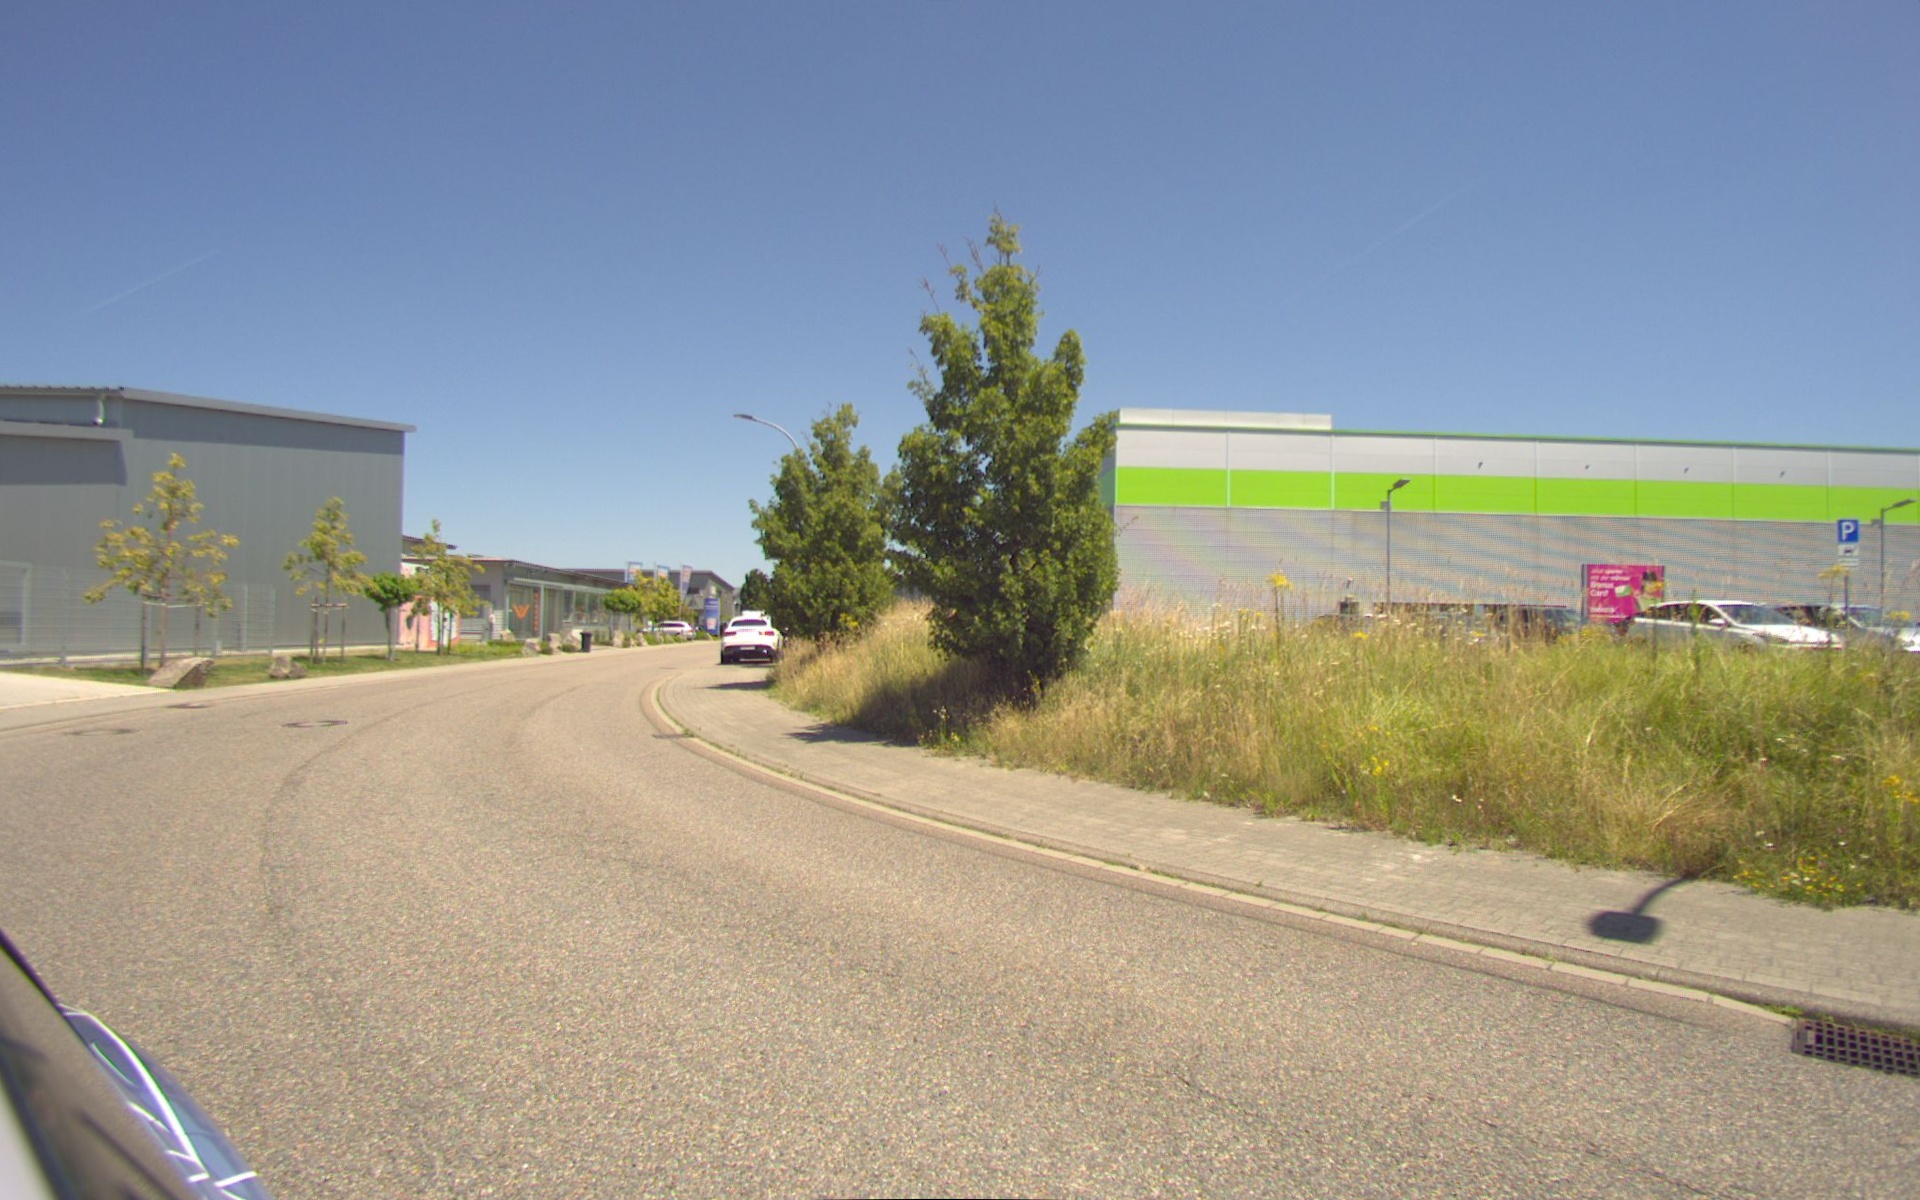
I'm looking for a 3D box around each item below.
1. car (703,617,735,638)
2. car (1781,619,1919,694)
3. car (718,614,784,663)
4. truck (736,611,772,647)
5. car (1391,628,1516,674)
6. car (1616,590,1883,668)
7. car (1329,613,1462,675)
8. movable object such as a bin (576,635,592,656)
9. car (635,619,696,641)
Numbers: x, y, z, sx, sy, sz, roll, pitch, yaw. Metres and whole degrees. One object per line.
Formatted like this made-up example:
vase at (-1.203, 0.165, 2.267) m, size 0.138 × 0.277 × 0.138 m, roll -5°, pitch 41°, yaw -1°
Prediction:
car at (-23.865, 2.750, 100.355) m, size 1.971 × 2.029 × 5.338 m, roll 0°, pitch -1°, yaw -2°
car at (18.933, 1.108, 20.229) m, size 1.616 × 1.410 × 3.804 m, roll 0°, pitch -2°, yaw -7°
car at (-7.572, 1.389, 37.047) m, size 1.889 × 1.668 × 4.760 m, roll 0°, pitch -1°, yaw -6°
truck at (-19.357, 2.708, 95.396) m, size 2.428 × 3.230 × 6.887 m, roll 0°, pitch -1°, yaw -4°
car at (15.207, 1.562, 31.418) m, size 1.467 × 1.335 × 4.006 m, roll 0°, pitch -2°, yaw -7°
car at (15.810, 0.614, 20.594) m, size 1.969 × 1.423 × 4.006 m, roll 0°, pitch -2°, yaw -7°
car at (13.285, 1.344, 31.171) m, size 1.969 × 1.790 × 4.006 m, roll 0°, pitch -2°, yaw -7°
movable object such as a bin at (-17.268, 2.105, 46.494) m, size 0.551 × 0.954 × 0.540 m, roll 2°, pitch -2°, yaw -6°
car at (-22.436, 2.322, 77.166) m, size 4.226 × 1.553 × 1.916 m, roll 2°, pitch -2°, yaw -7°
